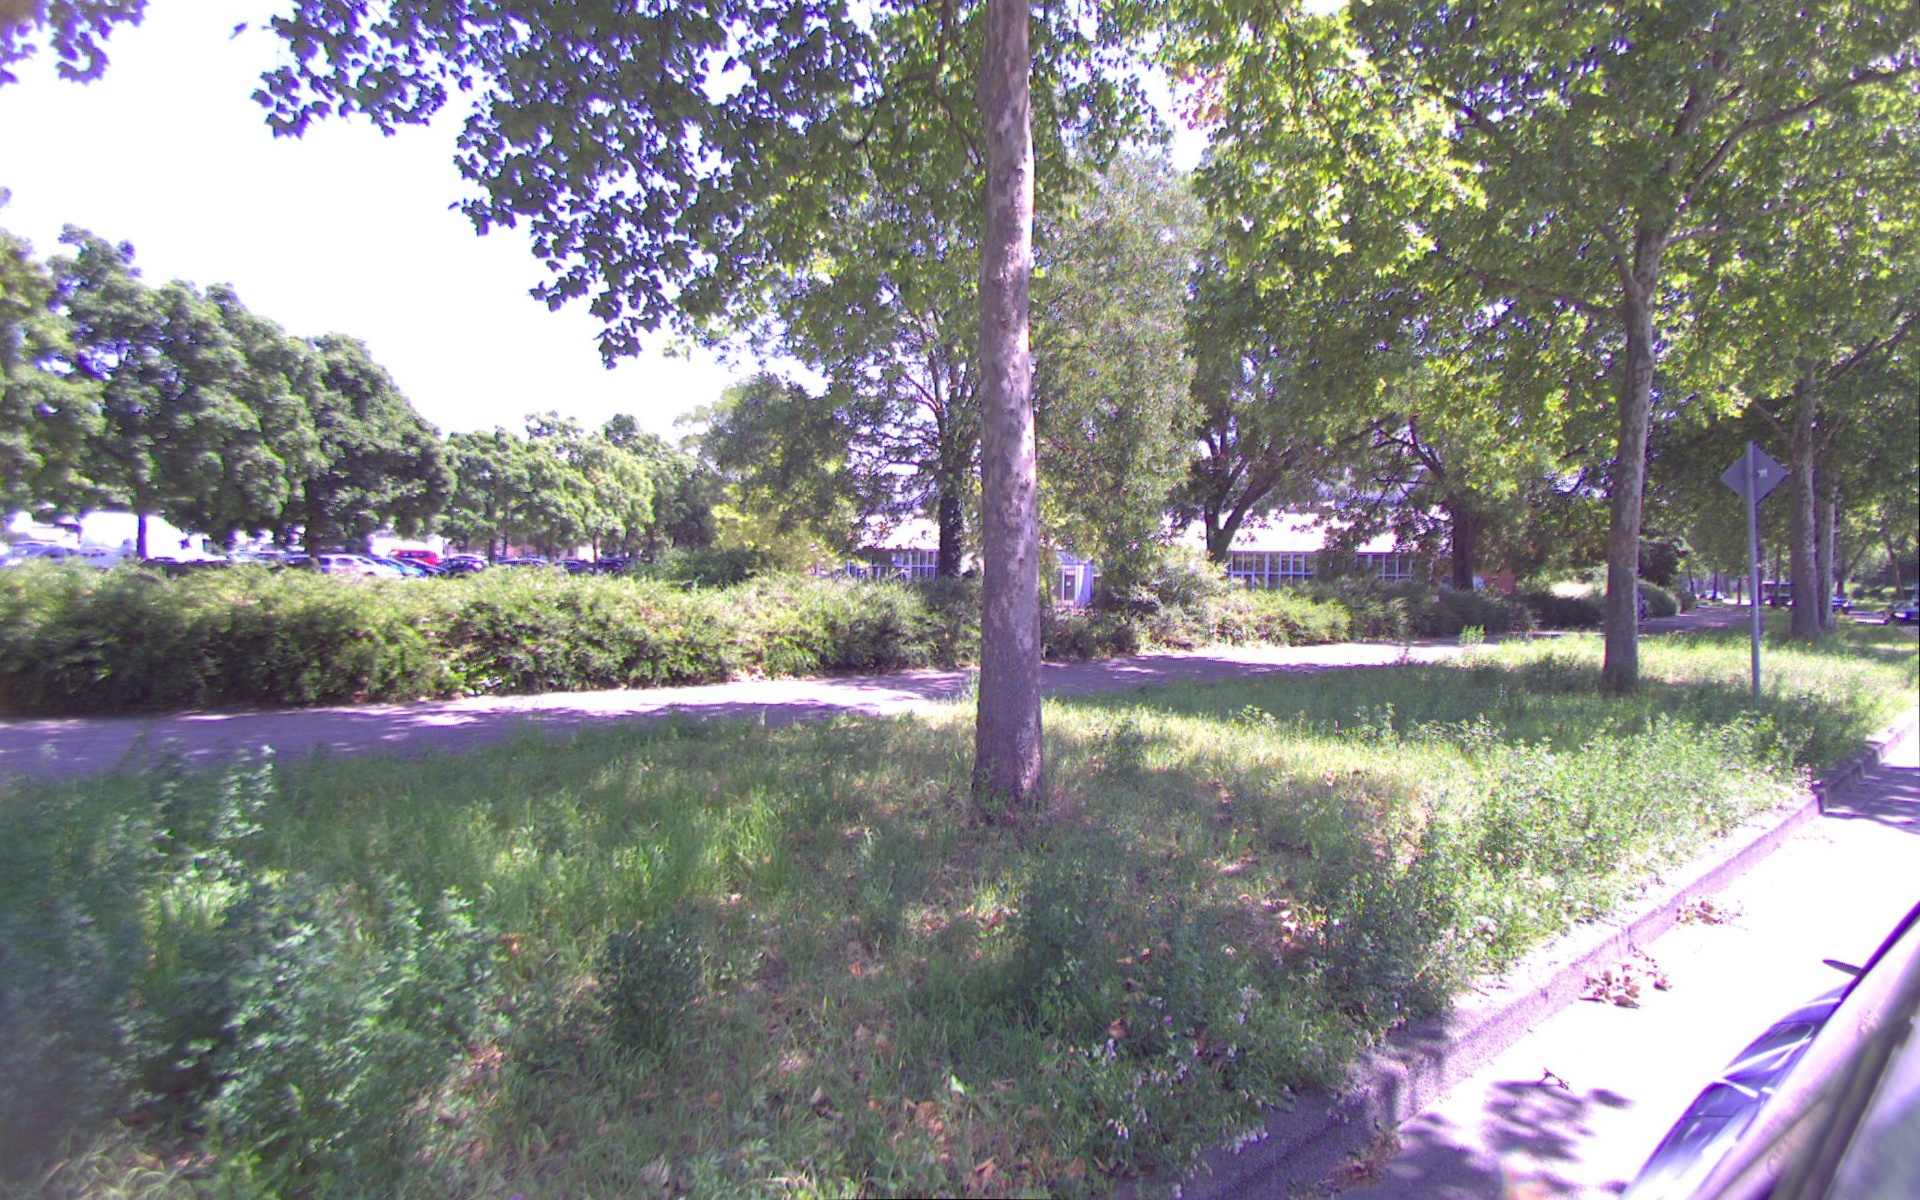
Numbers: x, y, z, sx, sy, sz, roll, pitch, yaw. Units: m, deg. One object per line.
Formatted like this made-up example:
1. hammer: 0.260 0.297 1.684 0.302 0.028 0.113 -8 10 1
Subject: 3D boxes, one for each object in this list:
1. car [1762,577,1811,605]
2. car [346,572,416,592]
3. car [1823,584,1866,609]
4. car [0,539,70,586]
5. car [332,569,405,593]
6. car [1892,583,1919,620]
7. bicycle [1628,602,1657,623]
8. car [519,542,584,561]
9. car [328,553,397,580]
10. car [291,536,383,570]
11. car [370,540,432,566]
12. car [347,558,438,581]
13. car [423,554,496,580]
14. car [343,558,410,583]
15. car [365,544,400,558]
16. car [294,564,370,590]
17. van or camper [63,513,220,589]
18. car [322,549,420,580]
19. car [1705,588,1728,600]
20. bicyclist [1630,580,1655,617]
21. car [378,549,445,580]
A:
1. car: 81.737 -0.958 100.177 2.897 2.687 6.295 1 2 31
2. car: -25.842 -0.814 45.209 2.547 0.852 0.955 1 1 -8
3. car: 69.442 -0.285 79.481 1.986 1.816 3.952 2 2 34
4. car: -36.520 -1.432 38.424 1.919 1.739 4.073 1 1 -1
5. car: -25.656 -0.833 43.932 2.547 0.999 0.955 1 1 -8
6. car: 52.261 0.079 54.850 1.988 1.905 3.949 2 2 35
7. bicycle: 25.258 0.457 37.455 1.639 0.773 0.465 0 1 -40
8. car: -62.208 -7.387 154.290 8.647 2.620 3.054 1 1 -9
9. car: -27.511 -1.541 46.623 2.547 1.141 1.008 1 1 -8
10. car: -38.795 -2.906 63.144 4.334 2.038 2.249 1 1 -5
11. car: -75.573 -6.310 136.924 7.056 3.221 3.197 0 1 -24
12. car: -27.495 -1.465 49.124 3.494 1.047 1.685 1 2 -8
13. car: -28.641 -1.893 57.959 3.357 1.383 1.720 1 1 -8
14. car: -27.533 -1.388 47.789 2.547 1.141 0.955 1 1 -8
15. car: -69.968 -5.932 122.653 1.433 1.638 3.326 2 2 35
16. car: -26.307 -0.957 42.416 2.547 1.049 0.955 1 1 -8
17. van or camper: -32.486 -1.917 40.393 2.161 2.785 5.131 1 2 0
18. car: -27.031 -1.598 46.528 3.501 1.241 1.622 2 0 -8
19. car: 92.240 -0.775 123.426 1.492 1.404 3.402 2 1 23
20. bicyclist: 25.251 -0.056 37.427 0.654 1.355 0.600 0 1 -41
21. car: -40.798 -2.620 75.308 3.920 2.039 1.969 -2 -1 -6
